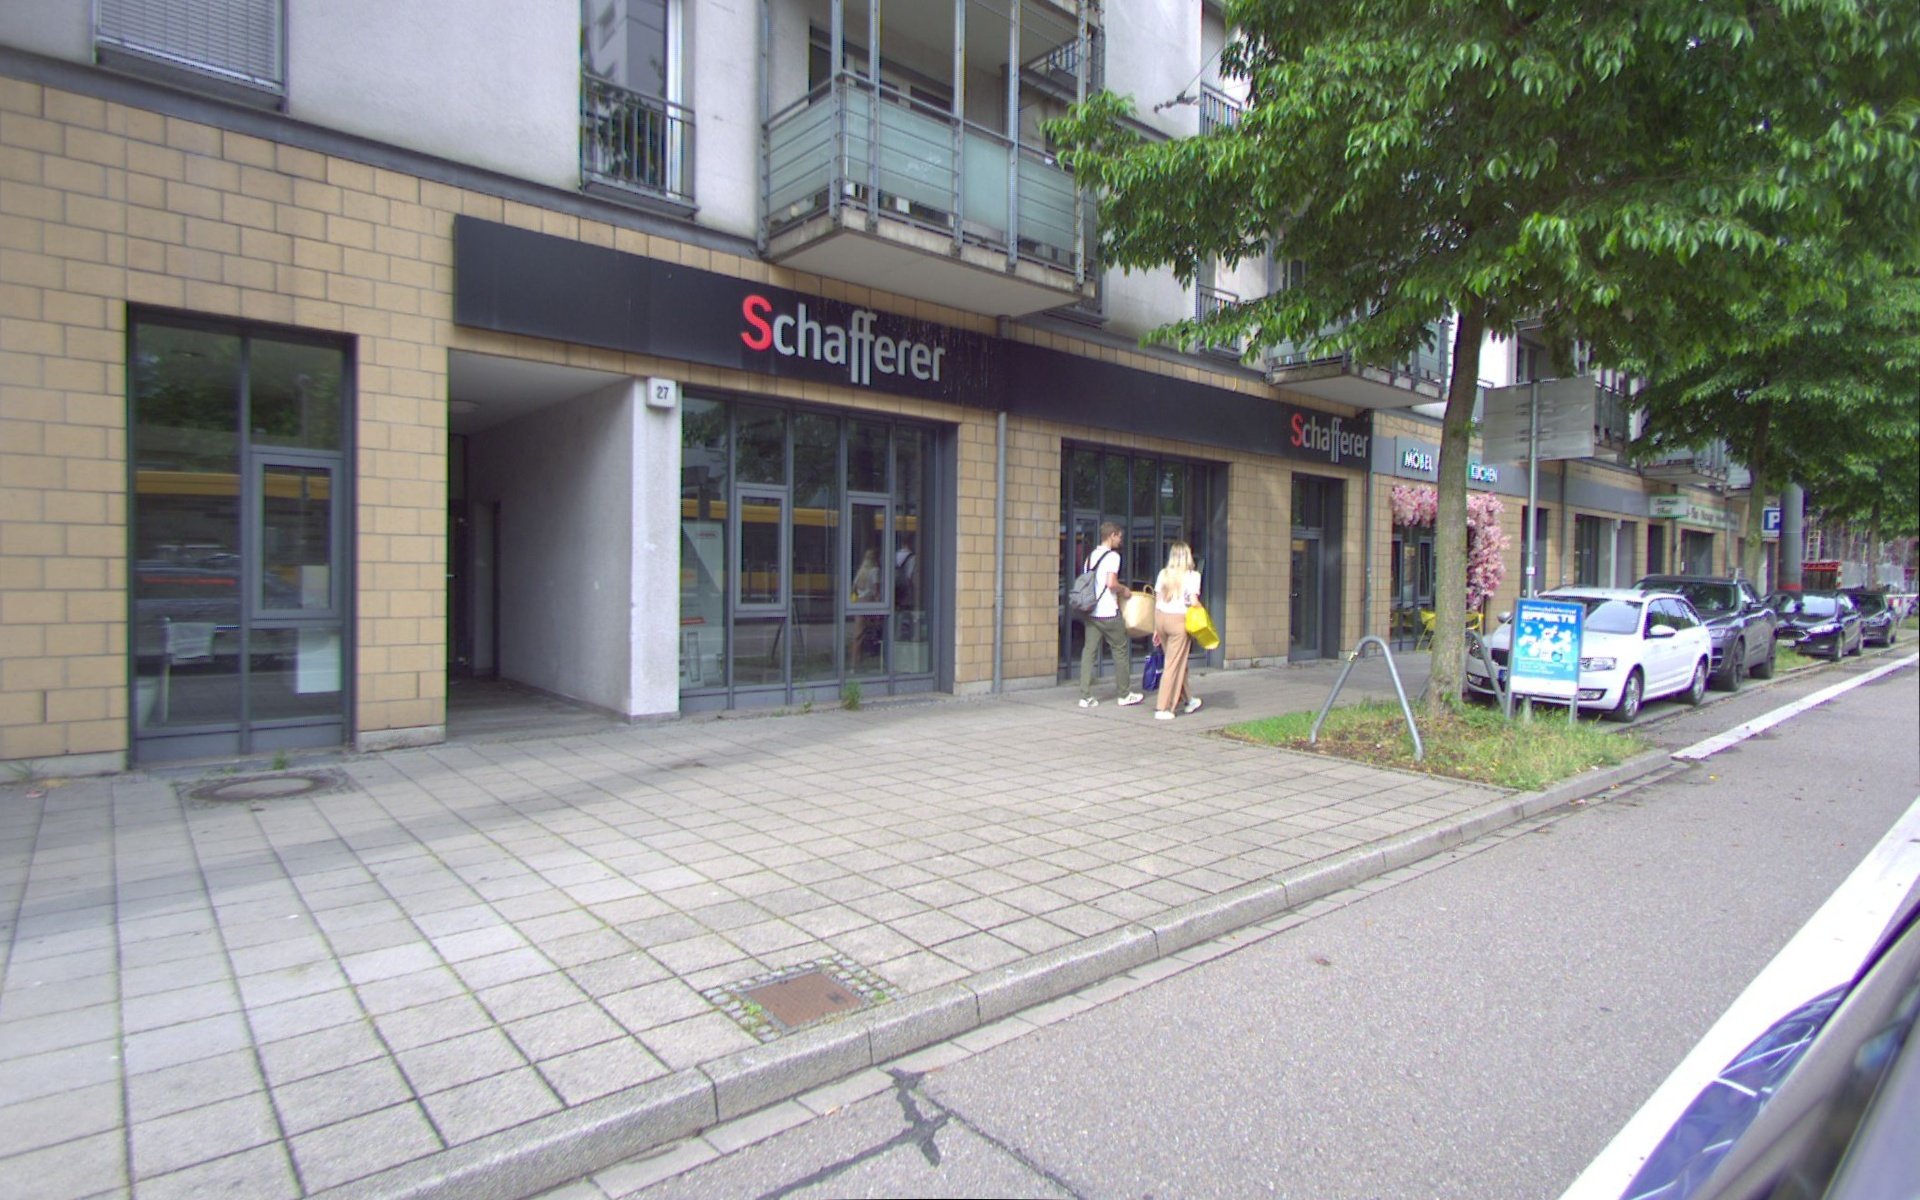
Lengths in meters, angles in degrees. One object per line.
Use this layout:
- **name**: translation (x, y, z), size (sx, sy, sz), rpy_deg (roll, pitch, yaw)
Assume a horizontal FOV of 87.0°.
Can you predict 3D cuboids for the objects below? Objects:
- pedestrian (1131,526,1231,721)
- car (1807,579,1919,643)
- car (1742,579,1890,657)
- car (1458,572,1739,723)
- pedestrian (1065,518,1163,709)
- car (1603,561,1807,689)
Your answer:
- **pedestrian**: translation (2.173, 0.208, 9.945), size (0.724, 1.828, 0.617), rpy_deg (0, 2, -39)
- **car**: translation (24.289, 0.222, 27.166), size (4.315, 1.472, 1.800), rpy_deg (-1, 5, -43)
- **car**: translation (18.723, 0.324, 22.080), size (4.329, 1.459, 1.681), rpy_deg (-1, 4, -40)
- **car**: translation (8.132, 0.456, 12.740), size (4.312, 1.517, 1.681), rpy_deg (-1, 4, -40)
- **pedestrian**: translation (1.619, 0.121, 10.644), size (0.724, 1.914, 0.677), rpy_deg (0, 2, -39)
- **car**: translation (12.128, 0.288, 16.358), size (4.632, 1.737, 1.715), rpy_deg (-1, 4, -42)
